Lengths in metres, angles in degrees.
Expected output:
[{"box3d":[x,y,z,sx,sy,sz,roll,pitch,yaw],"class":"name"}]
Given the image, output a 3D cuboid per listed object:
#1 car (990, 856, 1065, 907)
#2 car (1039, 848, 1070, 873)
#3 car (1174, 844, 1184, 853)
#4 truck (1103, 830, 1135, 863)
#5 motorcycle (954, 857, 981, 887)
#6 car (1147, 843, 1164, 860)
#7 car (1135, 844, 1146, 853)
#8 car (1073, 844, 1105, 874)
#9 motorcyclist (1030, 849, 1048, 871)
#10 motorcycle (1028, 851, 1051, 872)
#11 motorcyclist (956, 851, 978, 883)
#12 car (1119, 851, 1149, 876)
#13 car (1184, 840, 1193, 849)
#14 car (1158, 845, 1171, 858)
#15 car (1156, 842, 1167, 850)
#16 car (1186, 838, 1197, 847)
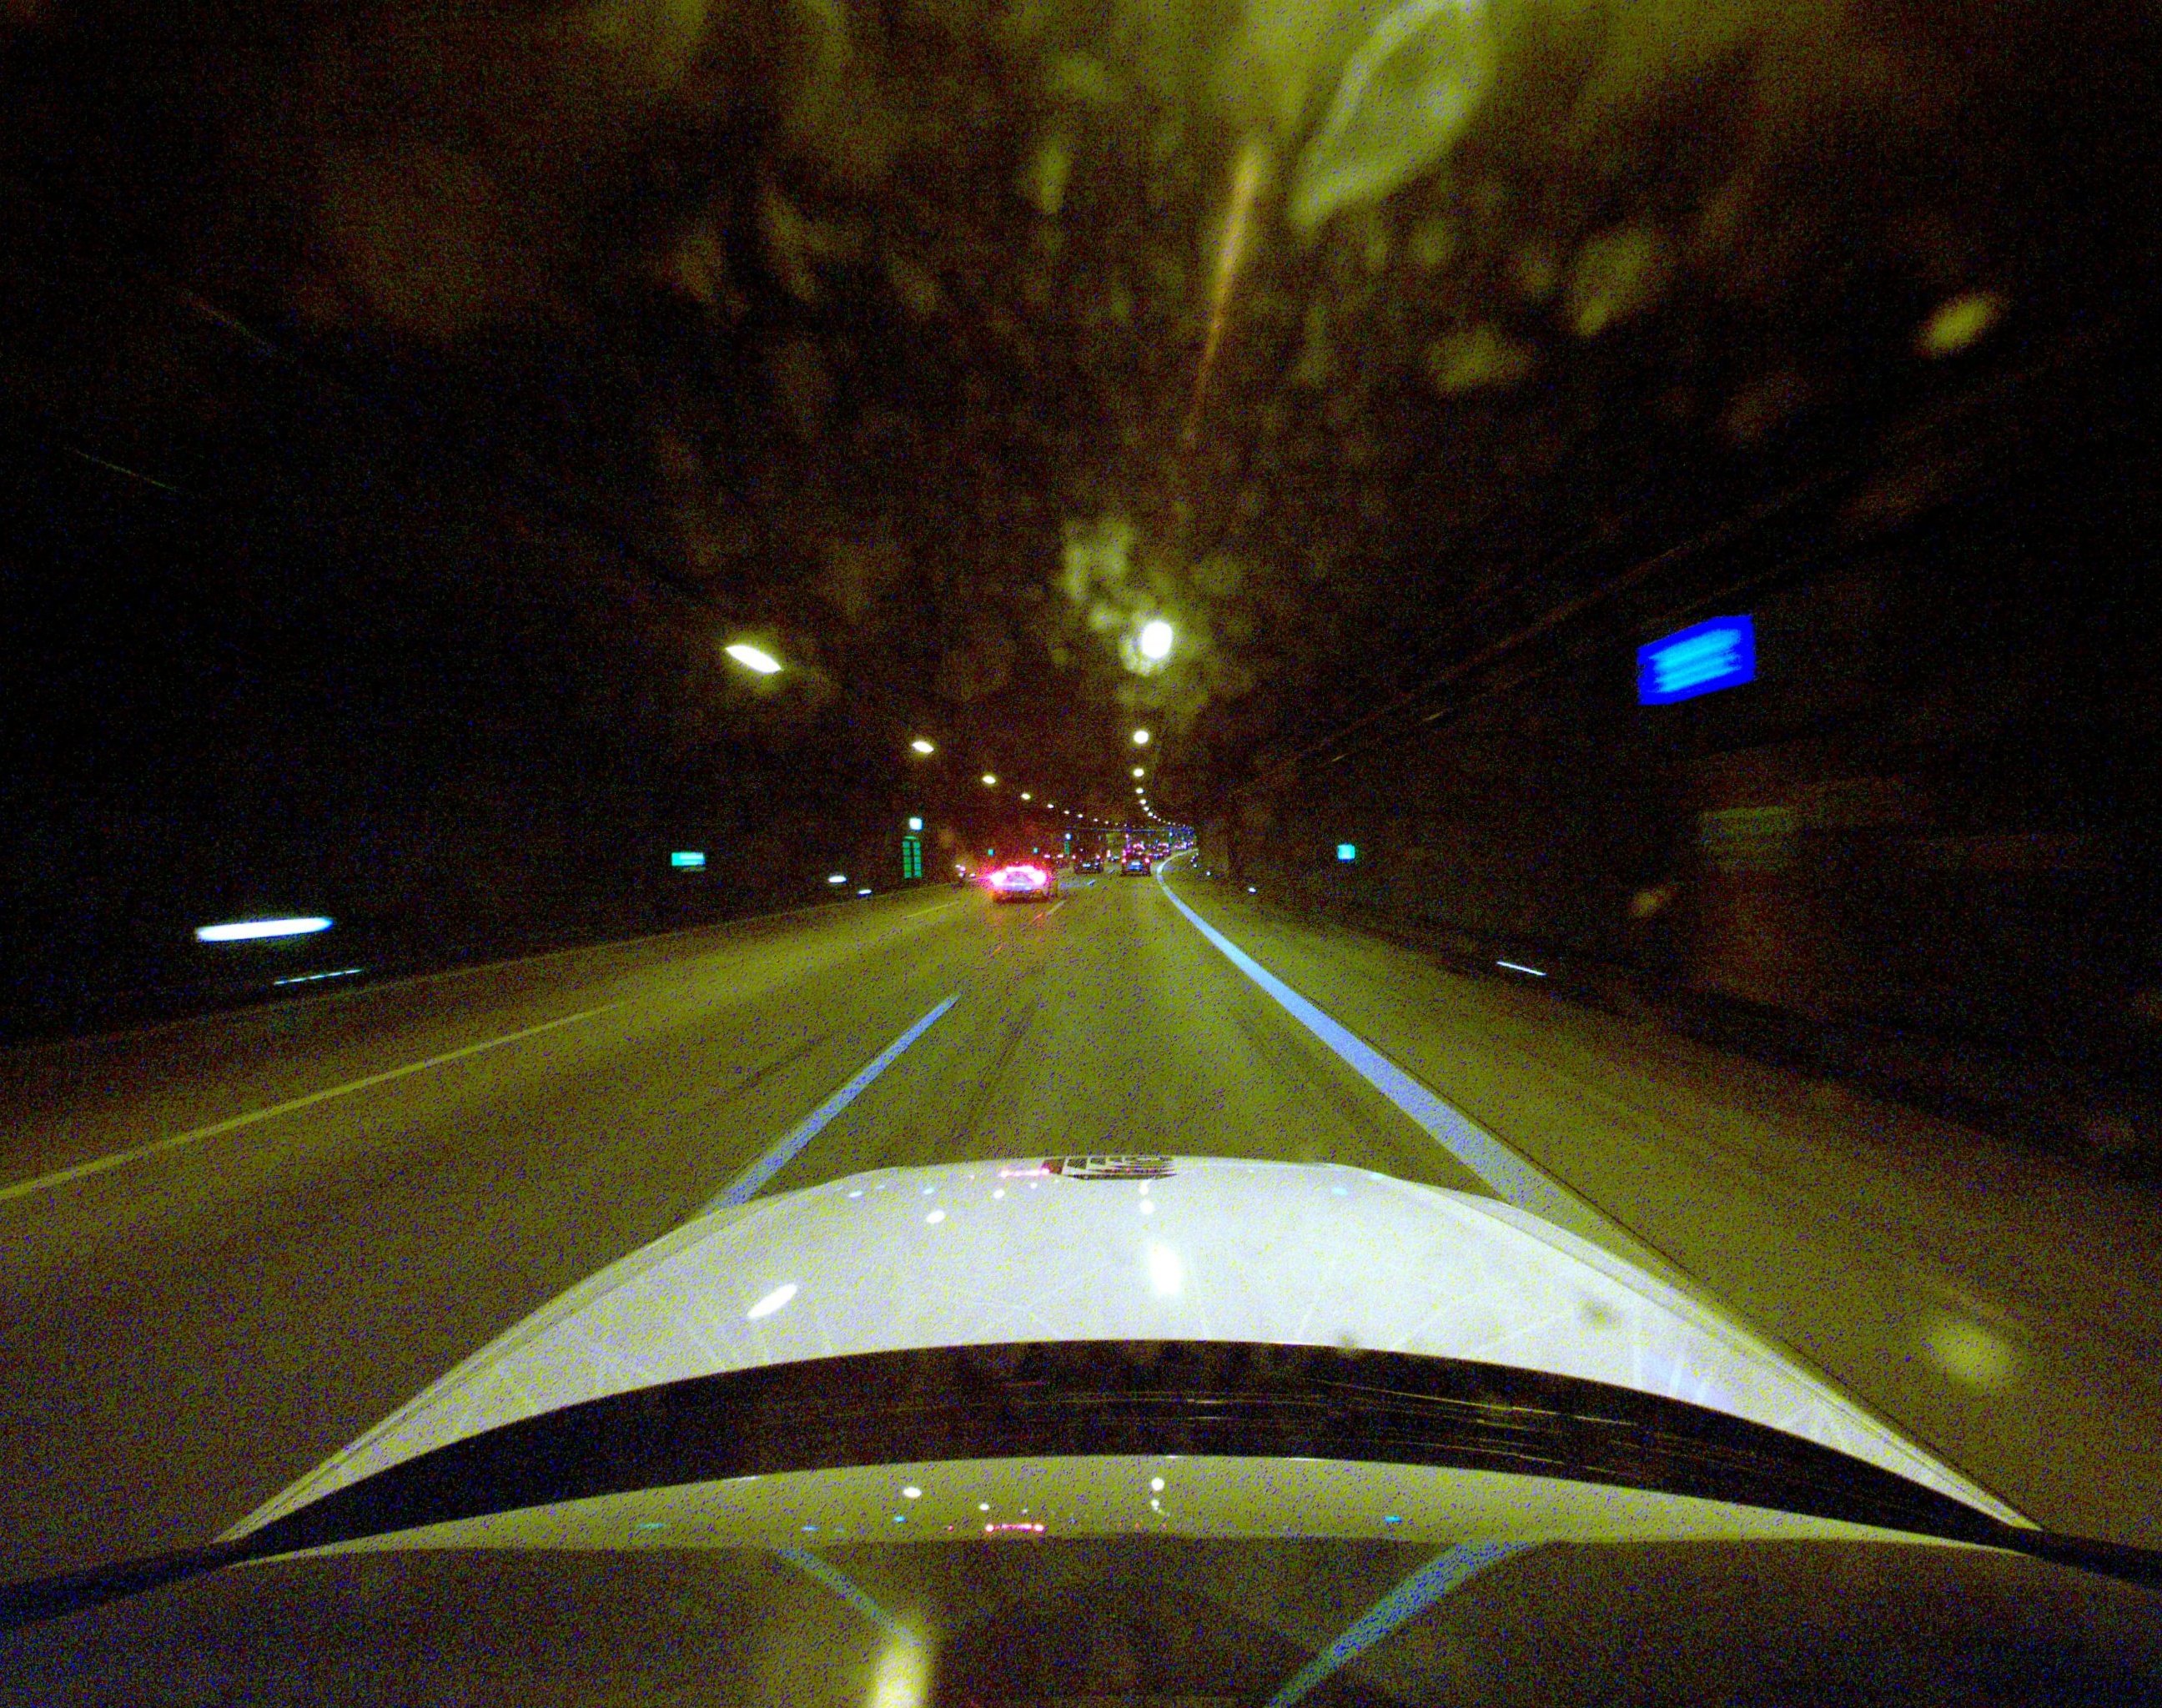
[{"box3d":[-1.696,0.834,27.300,1.694,1.419,5.068,-1,1,5],"class":"car"},{"box3d":[-2.197,0.512,68.100,1.983,2.013,4.007,-1,0,6],"class":"car"},{"box3d":[19.154,-1.073,158.904,1.921,1.642,4.007,-1,-1,6],"class":"car"},{"box3d":[4.459,-0.832,93.623,3.022,3.673,7.409,-1,0,8],"class":"truck"},{"box3d":[-5.198,0.814,37.402,0.679,1.297,2.402,-1,0,5],"class":"motorcycle"},{"box3d":[8.605,-0.249,93.901,1.848,1.854,4.007,-1,0,6],"class":"car"},{"box3d":[11.160,-0.960,152.694,1.920,1.642,4.008,-1,0,7],"class":"car"},{"box3d":[0.603,0.333,57.284,1.900,1.944,3.878,-1,2,6],"class":"car"},{"box3d":[-2.803,0.410,54.866,0.801,1.448,1.870,-1,-1,9],"class":"motorcyclist"},{"box3d":[-2.776,0.506,54.866,0.920,1.434,2.971,0,-1,10],"class":"motorcycle"},{"box3d":[-5.219,0.583,37.367,0.773,1.452,1.070,-1,-1,4],"class":"motorcyclist"},{"box3d":[3.397,0.602,51.695,1.734,1.464,3.876,-1,-1,5],"class":"car"},{"box3d":[26.702,-2.392,202.357,1.982,2.014,4.009,-1,-1,8],"class":"car"},{"box3d":[12.434,-0.368,121.049,1.940,1.772,4.006,-1,-1,6],"class":"car"},{"box3d":[18.424,-1.754,185.627,1.917,1.642,4.014,-1,-1,13],"class":"car"},{"box3d":[25.768,-2.638,189.348,1.979,2.014,4.015,-1,-1,14],"class":"car"}]
